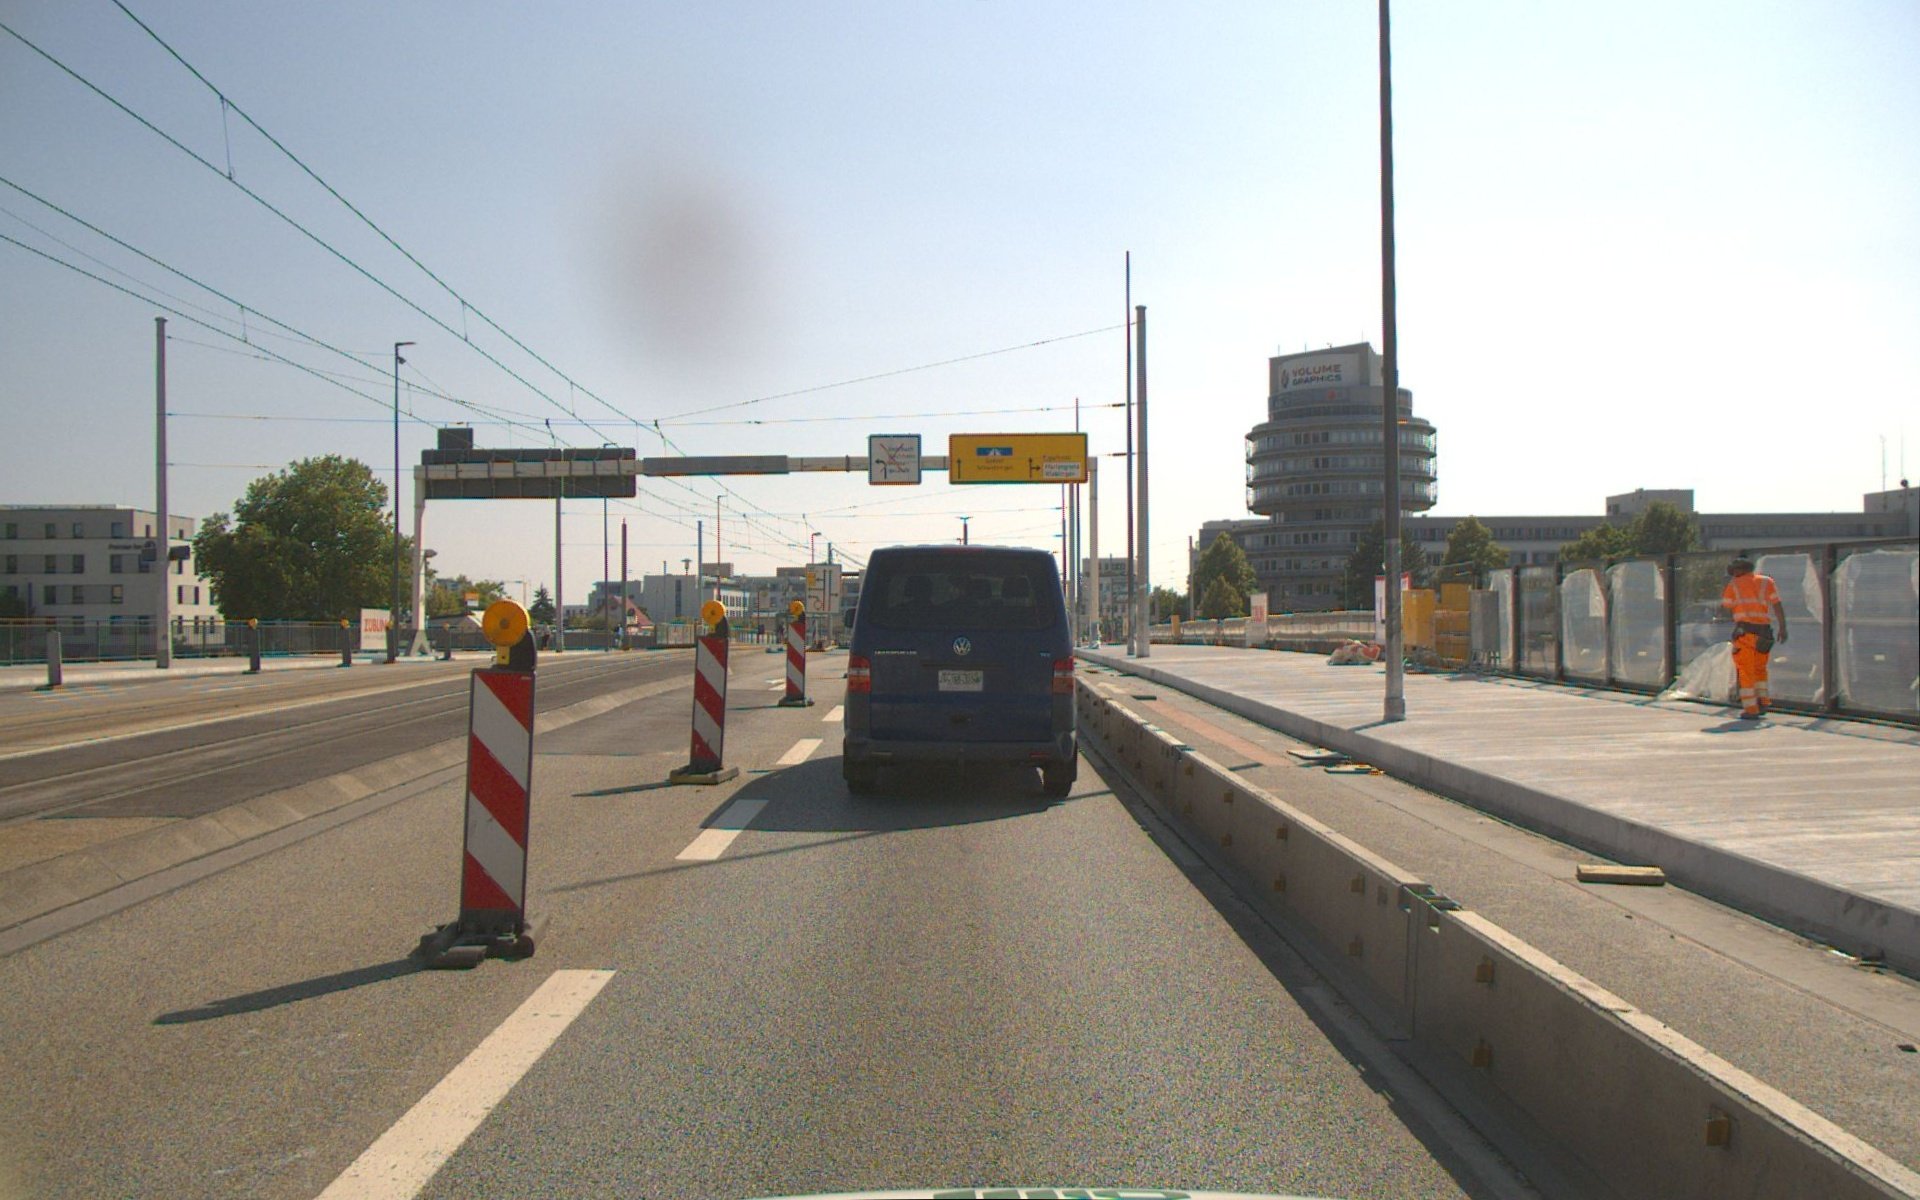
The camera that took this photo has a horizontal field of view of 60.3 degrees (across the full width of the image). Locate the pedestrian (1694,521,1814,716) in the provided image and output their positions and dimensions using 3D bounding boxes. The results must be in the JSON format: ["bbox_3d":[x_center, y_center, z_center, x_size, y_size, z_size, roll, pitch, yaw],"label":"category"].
[{"bbox_3d":[8.460,0.198,17.660,0.716,1.999,1.016,-2,-1,0],"label":"pedestrian"}]

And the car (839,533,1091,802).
[{"bbox_3d":[0.021,0.530,14.321,1.849,1.968,3.999,1,-1,-1],"label":"car"}]

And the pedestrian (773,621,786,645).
[{"bbox_3d":[-12.440,2.283,114.107,0.646,1.683,0.740,-1,-1,14],"label":"pedestrian"}]

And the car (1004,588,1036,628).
[{"bbox_3d":[4.527,0.628,125.555,2.290,2.938,5.970,1,-1,1],"label":"car"}]

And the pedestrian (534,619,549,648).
[{"bbox_3d":[-24.810,1.987,98.029,0.585,1.717,0.818,-1,-1,3],"label":"pedestrian"}]

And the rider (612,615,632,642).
[{"bbox_3d":[-22.128,1.874,108.384,0.748,1.763,2.951,0,-1,-1],"label":"rider"}]

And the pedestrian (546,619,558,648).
[{"bbox_3d":[-24.256,1.979,98.253,0.476,1.717,0.808,-1,-1,3],"label":"pedestrian"}]
